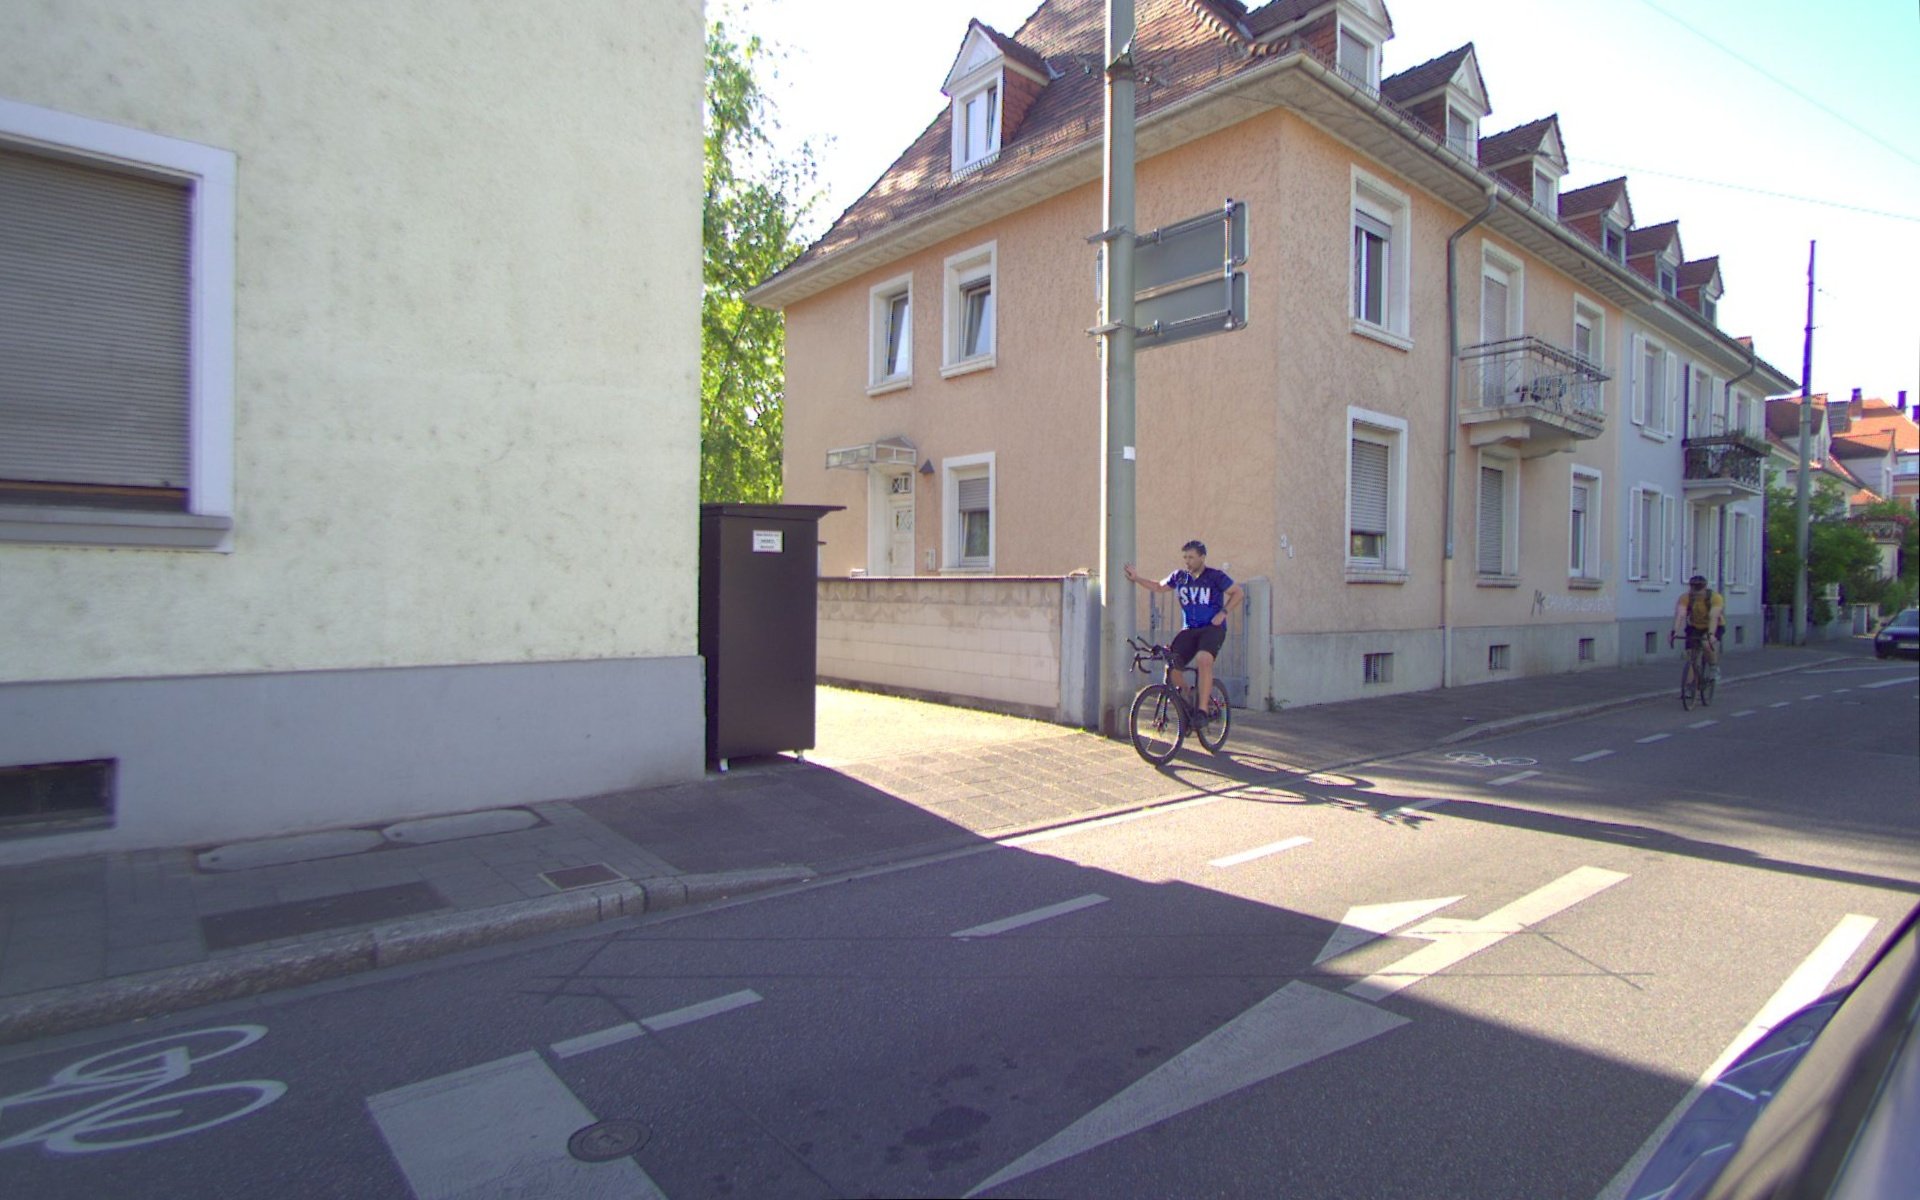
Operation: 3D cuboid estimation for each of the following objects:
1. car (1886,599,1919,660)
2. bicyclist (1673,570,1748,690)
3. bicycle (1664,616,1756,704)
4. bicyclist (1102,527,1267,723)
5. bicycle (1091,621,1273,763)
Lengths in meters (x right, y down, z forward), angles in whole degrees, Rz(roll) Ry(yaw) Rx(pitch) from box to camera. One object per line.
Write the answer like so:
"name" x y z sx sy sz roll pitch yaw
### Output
"car" 26.692 0.754 27.377 3.742 1.601 1.696 0 -1 -36
"bicyclist" 10.654 0.398 14.369 0.841 1.641 0.685 0 0 -41
"bicycle" 10.687 0.817 14.398 1.774 1.118 0.685 -1 0 -41
"bicyclist" 2.051 0.193 9.314 0.870 1.627 1.052 1 5 -41
"bicycle" 2.012 0.770 9.043 1.744 1.081 0.592 0 5 -41
